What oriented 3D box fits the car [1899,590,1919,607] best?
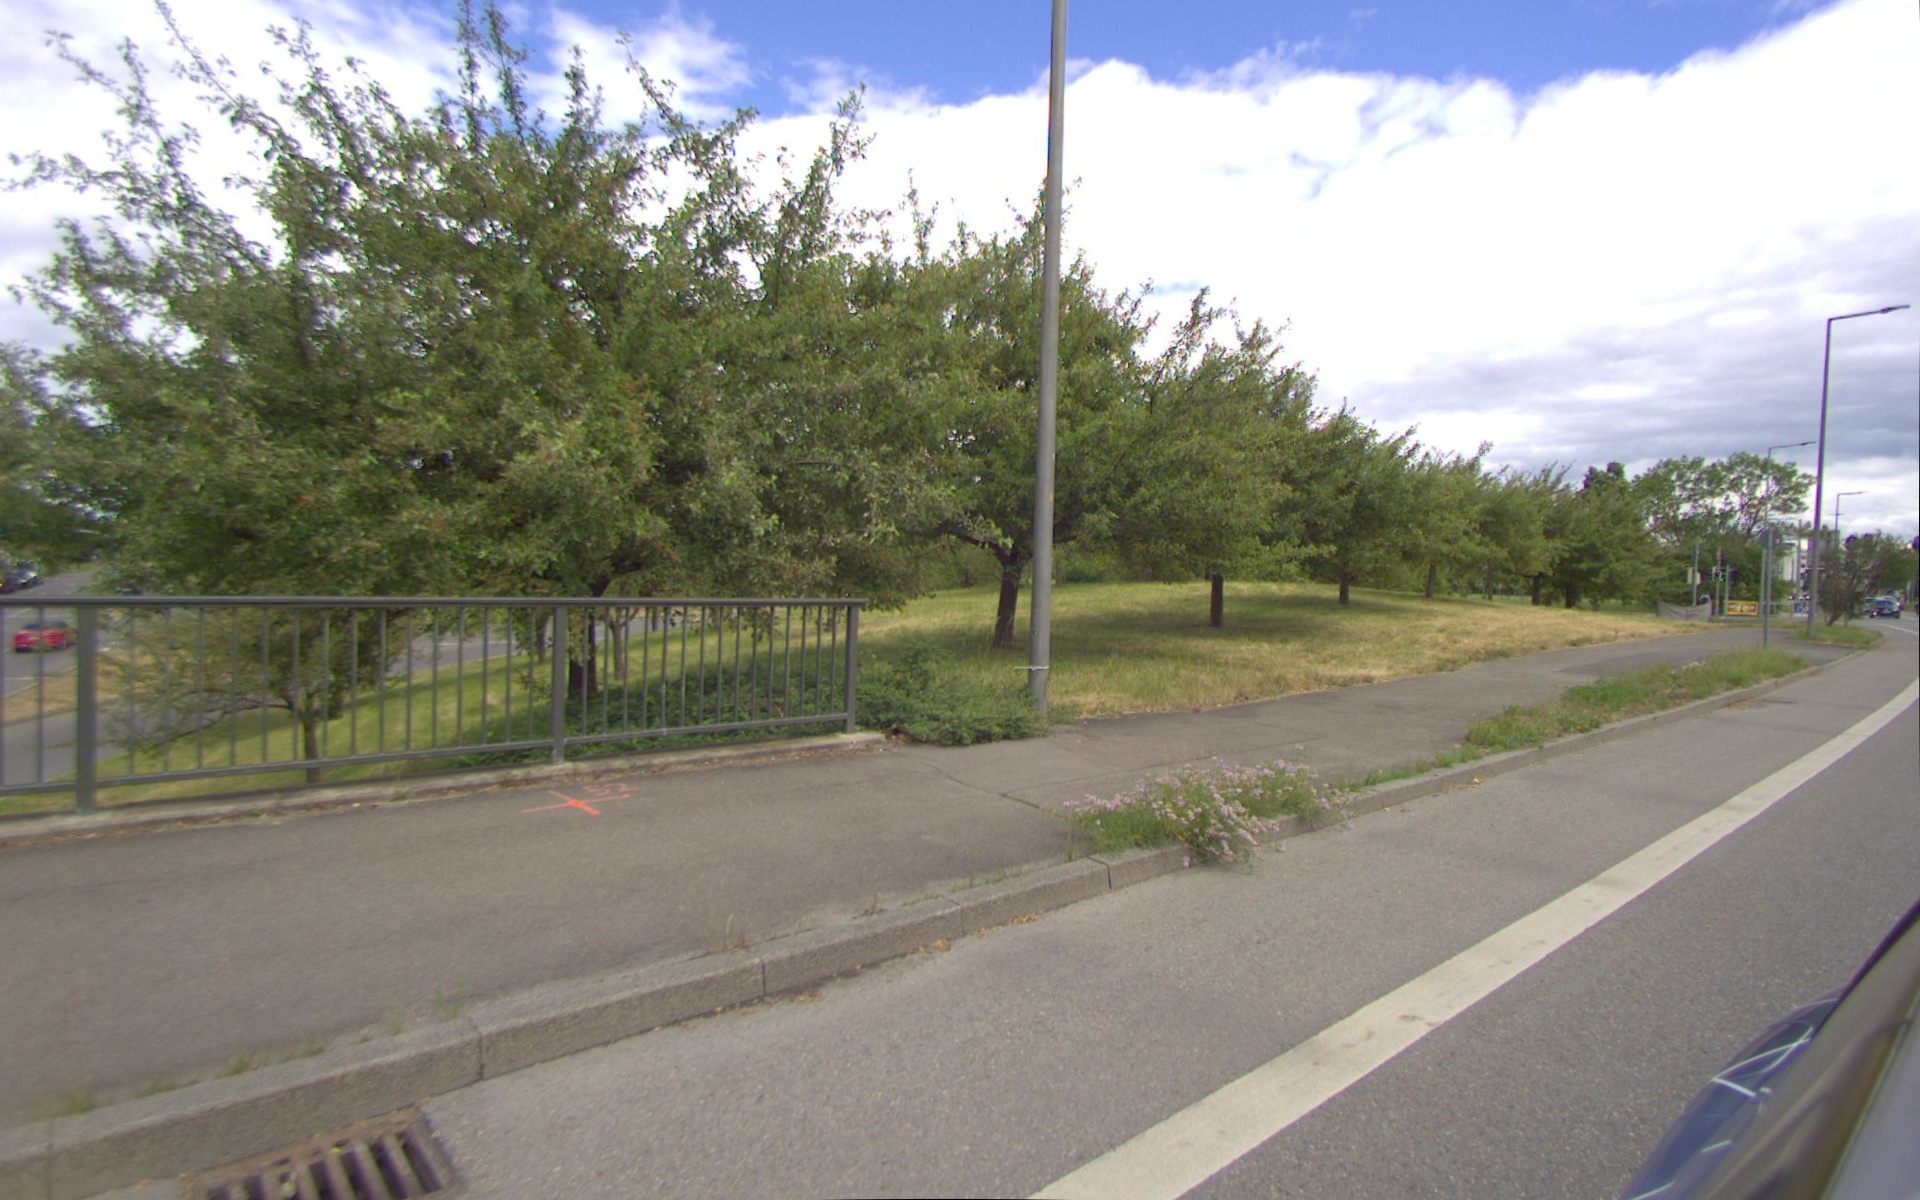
[{"bbox_3d":[100.914,-0.191,107.300,1.866,1.716,4.305,1,1,42],"label":"car"}]

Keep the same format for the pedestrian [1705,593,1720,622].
[{"bbox_3d":[50.324,0.465,67.682,0.762,1.907,0.789,1,0,40],"label":"pedestrian"}]

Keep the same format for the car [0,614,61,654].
[{"bbox_3d":[-45.380,1.614,49.481,1.649,1.559,3.858,2,3,-35],"label":"car"}]

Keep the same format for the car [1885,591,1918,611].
[{"bbox_3d":[72.208,0.036,77.647,1.730,1.459,4.302,1,1,42],"label":"car"}]

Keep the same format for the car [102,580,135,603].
[{"bbox_3d":[-67.610,-0.681,81.337,1.649,1.559,3.858,2,3,-35],"label":"car"}]

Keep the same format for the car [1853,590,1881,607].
[{"bbox_3d":[79.246,-0.126,88.438,1.730,1.459,4.302,1,1,42],"label":"car"}]
